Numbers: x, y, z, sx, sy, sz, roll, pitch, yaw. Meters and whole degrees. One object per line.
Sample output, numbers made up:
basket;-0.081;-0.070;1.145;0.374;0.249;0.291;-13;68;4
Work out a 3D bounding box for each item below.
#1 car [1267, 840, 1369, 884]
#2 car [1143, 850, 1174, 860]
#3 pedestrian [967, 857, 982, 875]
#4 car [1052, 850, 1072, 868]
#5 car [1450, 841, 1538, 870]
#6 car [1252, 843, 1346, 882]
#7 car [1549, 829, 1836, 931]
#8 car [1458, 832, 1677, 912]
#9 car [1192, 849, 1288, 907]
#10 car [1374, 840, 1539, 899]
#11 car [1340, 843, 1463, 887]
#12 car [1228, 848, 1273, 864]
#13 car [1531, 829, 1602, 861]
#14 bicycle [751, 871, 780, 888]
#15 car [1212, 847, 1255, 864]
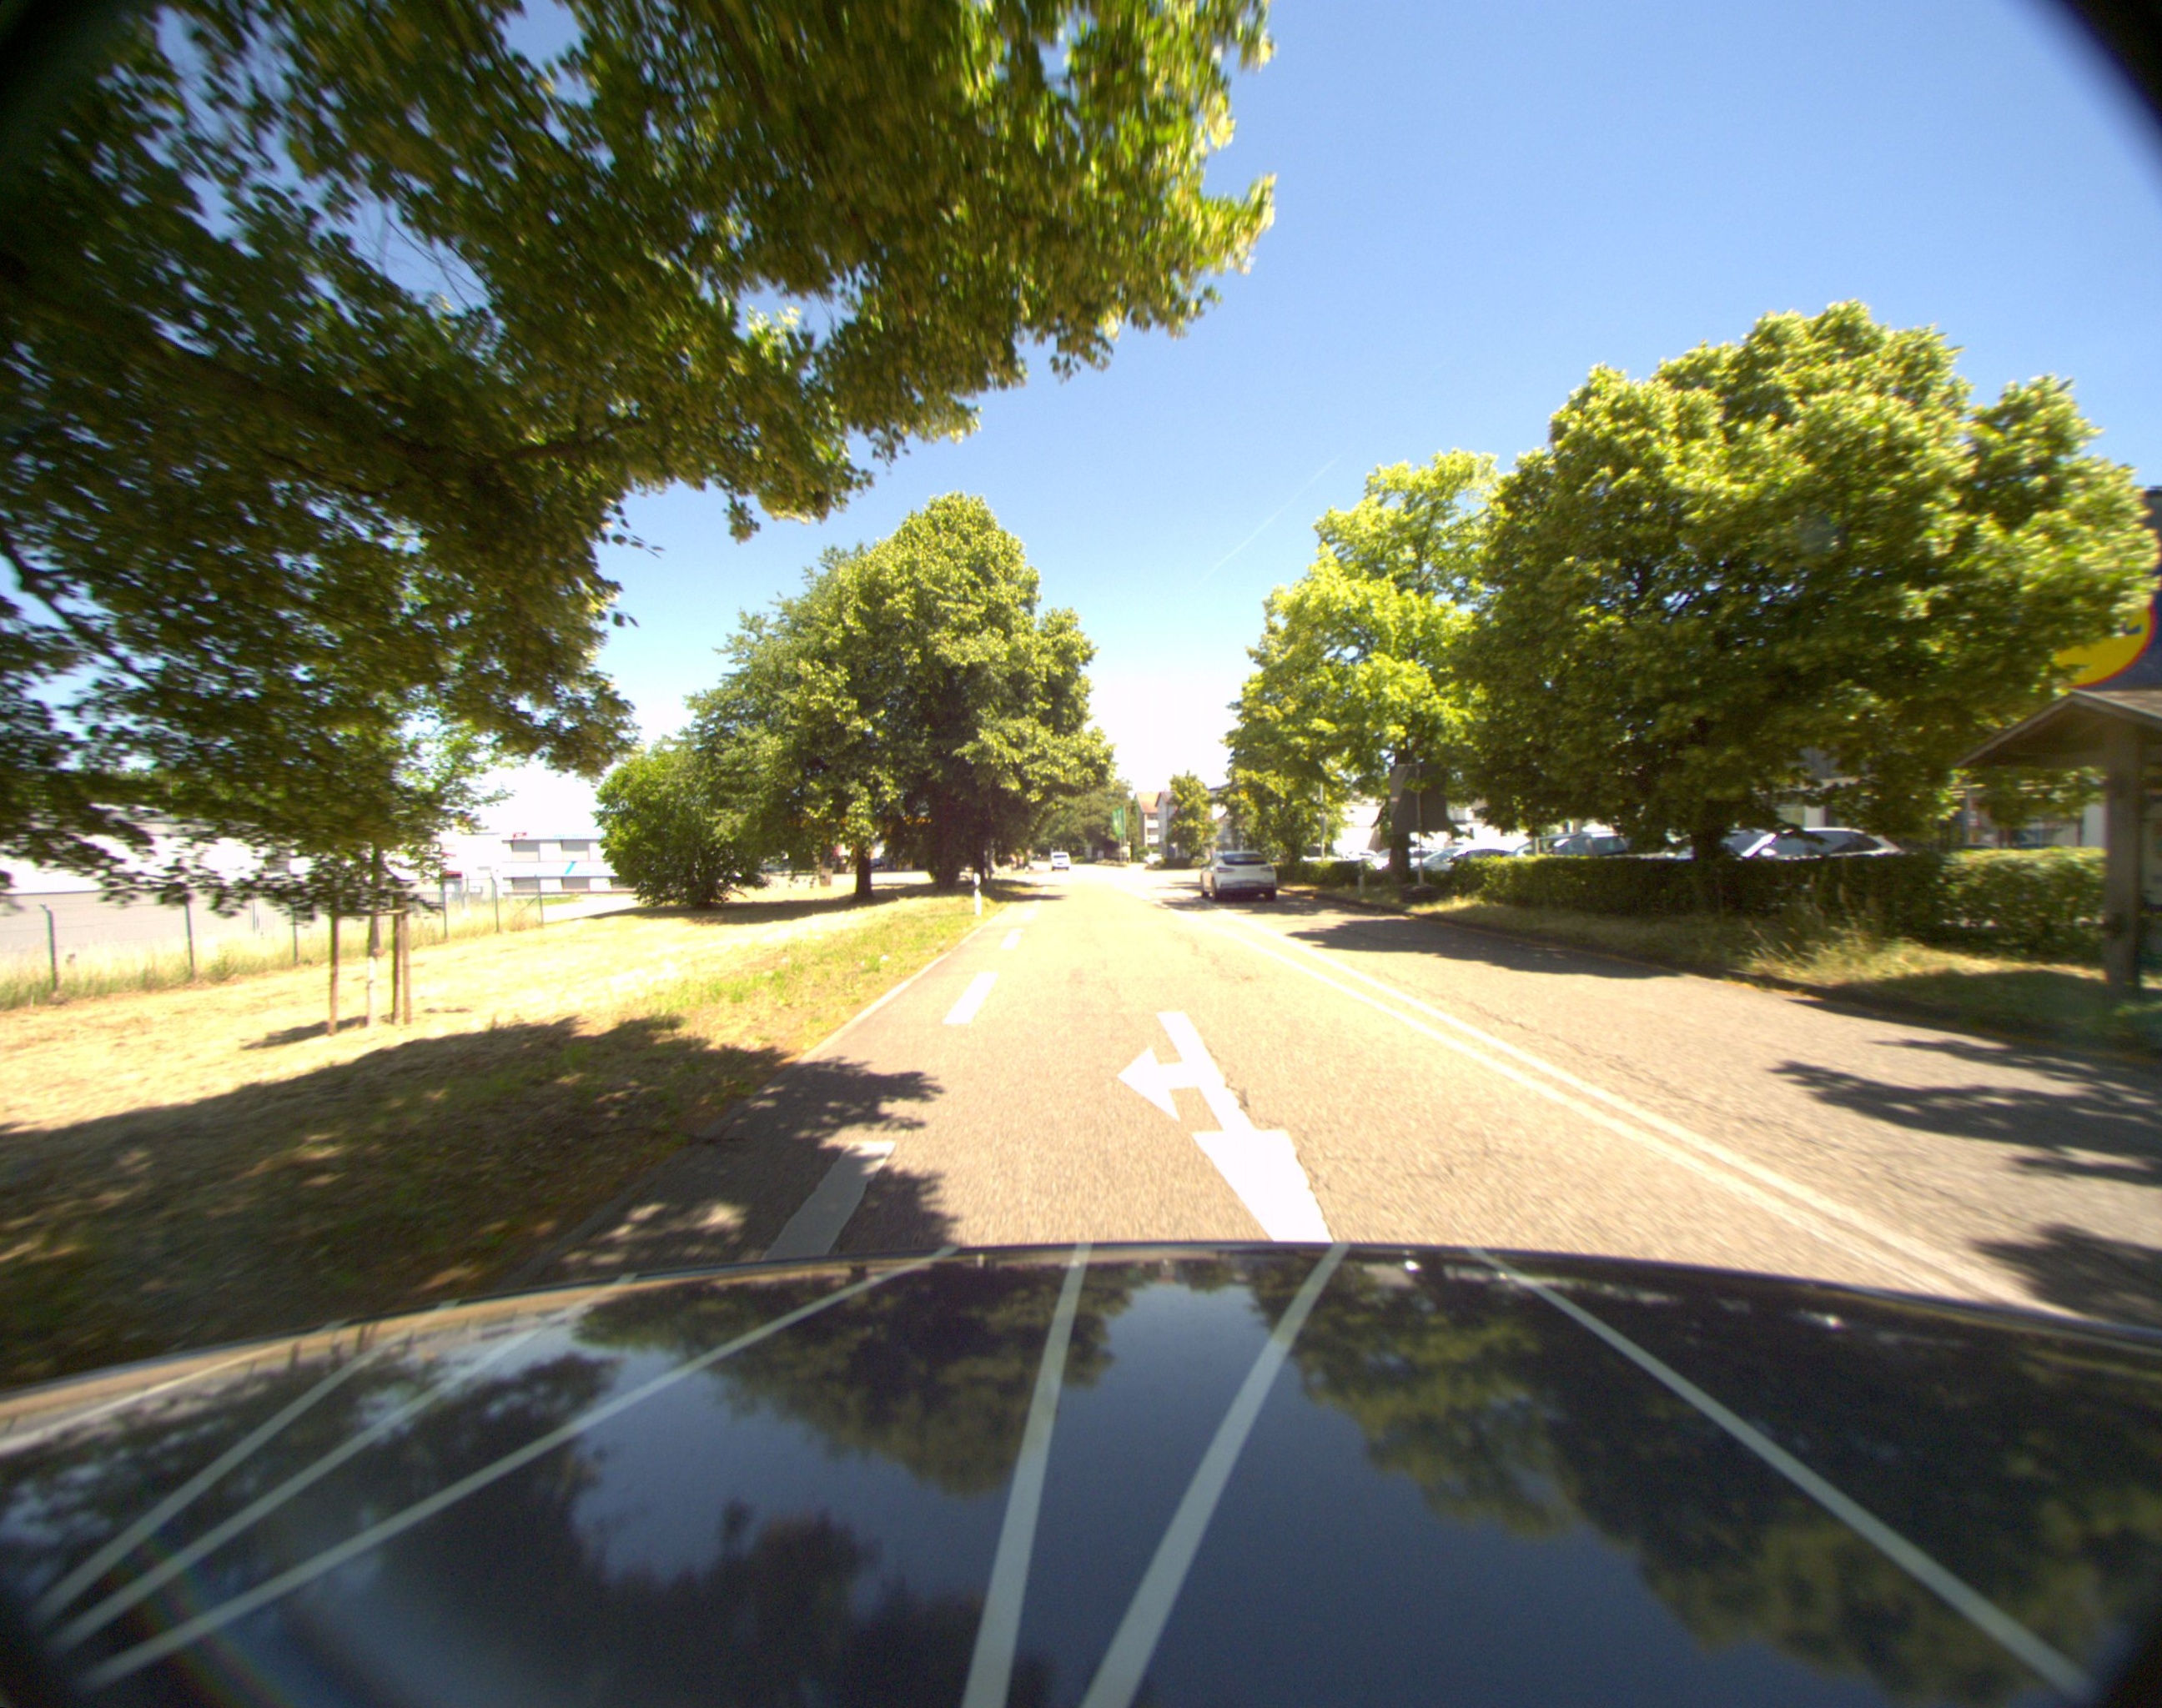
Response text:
car;11.659;0.379;37.562;4.369;1.969;1.904;-2;1;-4
car;11.811;0.192;116.034;4.361;1.430;1.935;-2;1;-28
pedestrian;-8.686;0.998;61.887;0.869;1.413;0.769;-2;1;-41
car;-2.144;0.508;84.570;1.797;1.904;3.637;-2;1;-8
car;25.592;0.070;47.172;4.325;1.646;2.113;-2;1;-5
car;11.469;0.412;40.273;4.395;1.835;2.104;-2;1;4
car;12.696;0.499;15.991;4.413;1.766;2.072;-3;1;-3
car;12.608;0.428;19.891;4.413;1.766;2.072;-3;1;-3
car;5.028;0.687;24.677;2.099;1.579;4.474;-3;1;0
car;12.126;0.470;24.743;4.413;1.611;1.894;-3;1;-3
car;12.674;0.418;30.204;4.040;1.516;1.933;-3;1;-3
car;16.574;0.230;74.488;4.191;1.438;1.981;-2;0;11
car;43.294;-0.810;67.952;2.287;2.612;5.897;-3;1;-3
bicycle;-21.350;1.702;51.433;1.697;1.091;0.468;-2;1;0
car;16.540;0.156;82.296;4.537;1.654;2.002;-2;0;13
